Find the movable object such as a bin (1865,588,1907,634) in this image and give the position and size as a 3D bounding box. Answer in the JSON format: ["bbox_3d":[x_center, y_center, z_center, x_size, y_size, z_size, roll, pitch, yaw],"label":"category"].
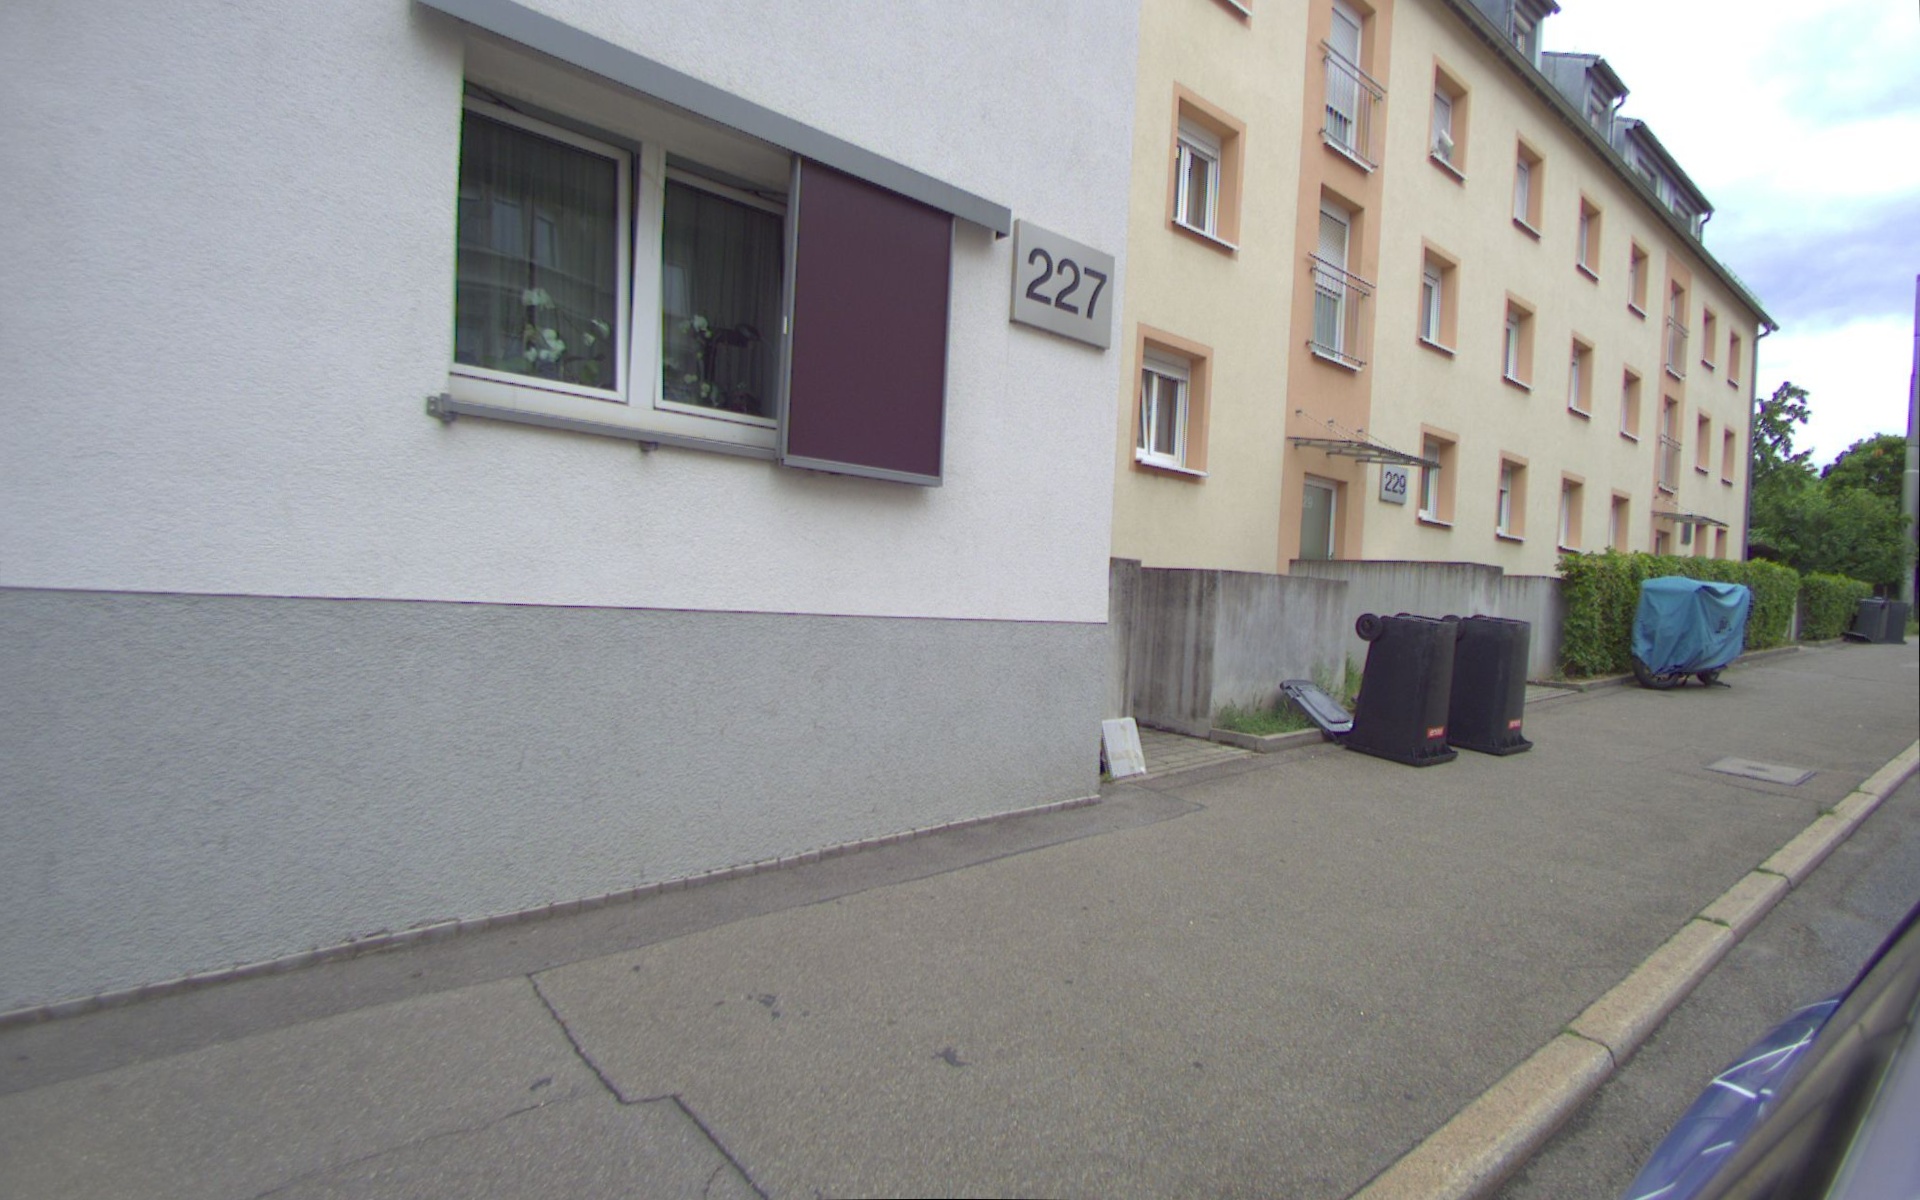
[{"bbox_3d":[21.804,0.255,23.832,0.530,1.072,0.669,1,0,-40],"label":"movable object such as a bin"}]

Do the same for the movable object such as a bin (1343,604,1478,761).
[{"bbox_3d":[3.274,0.568,7.364,0.592,1.021,0.638,1,4,-40],"label":"movable object such as a bin"}]

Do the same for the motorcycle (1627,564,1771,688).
[{"bbox_3d":[9.245,0.302,12.646,1.899,1.406,0.733,1,5,-34],"label":"motorcycle"}]

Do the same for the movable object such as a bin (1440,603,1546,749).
[{"bbox_3d":[4.131,0.566,7.848,0.563,1.021,0.491,6,4,41],"label":"movable object such as a bin"}]
